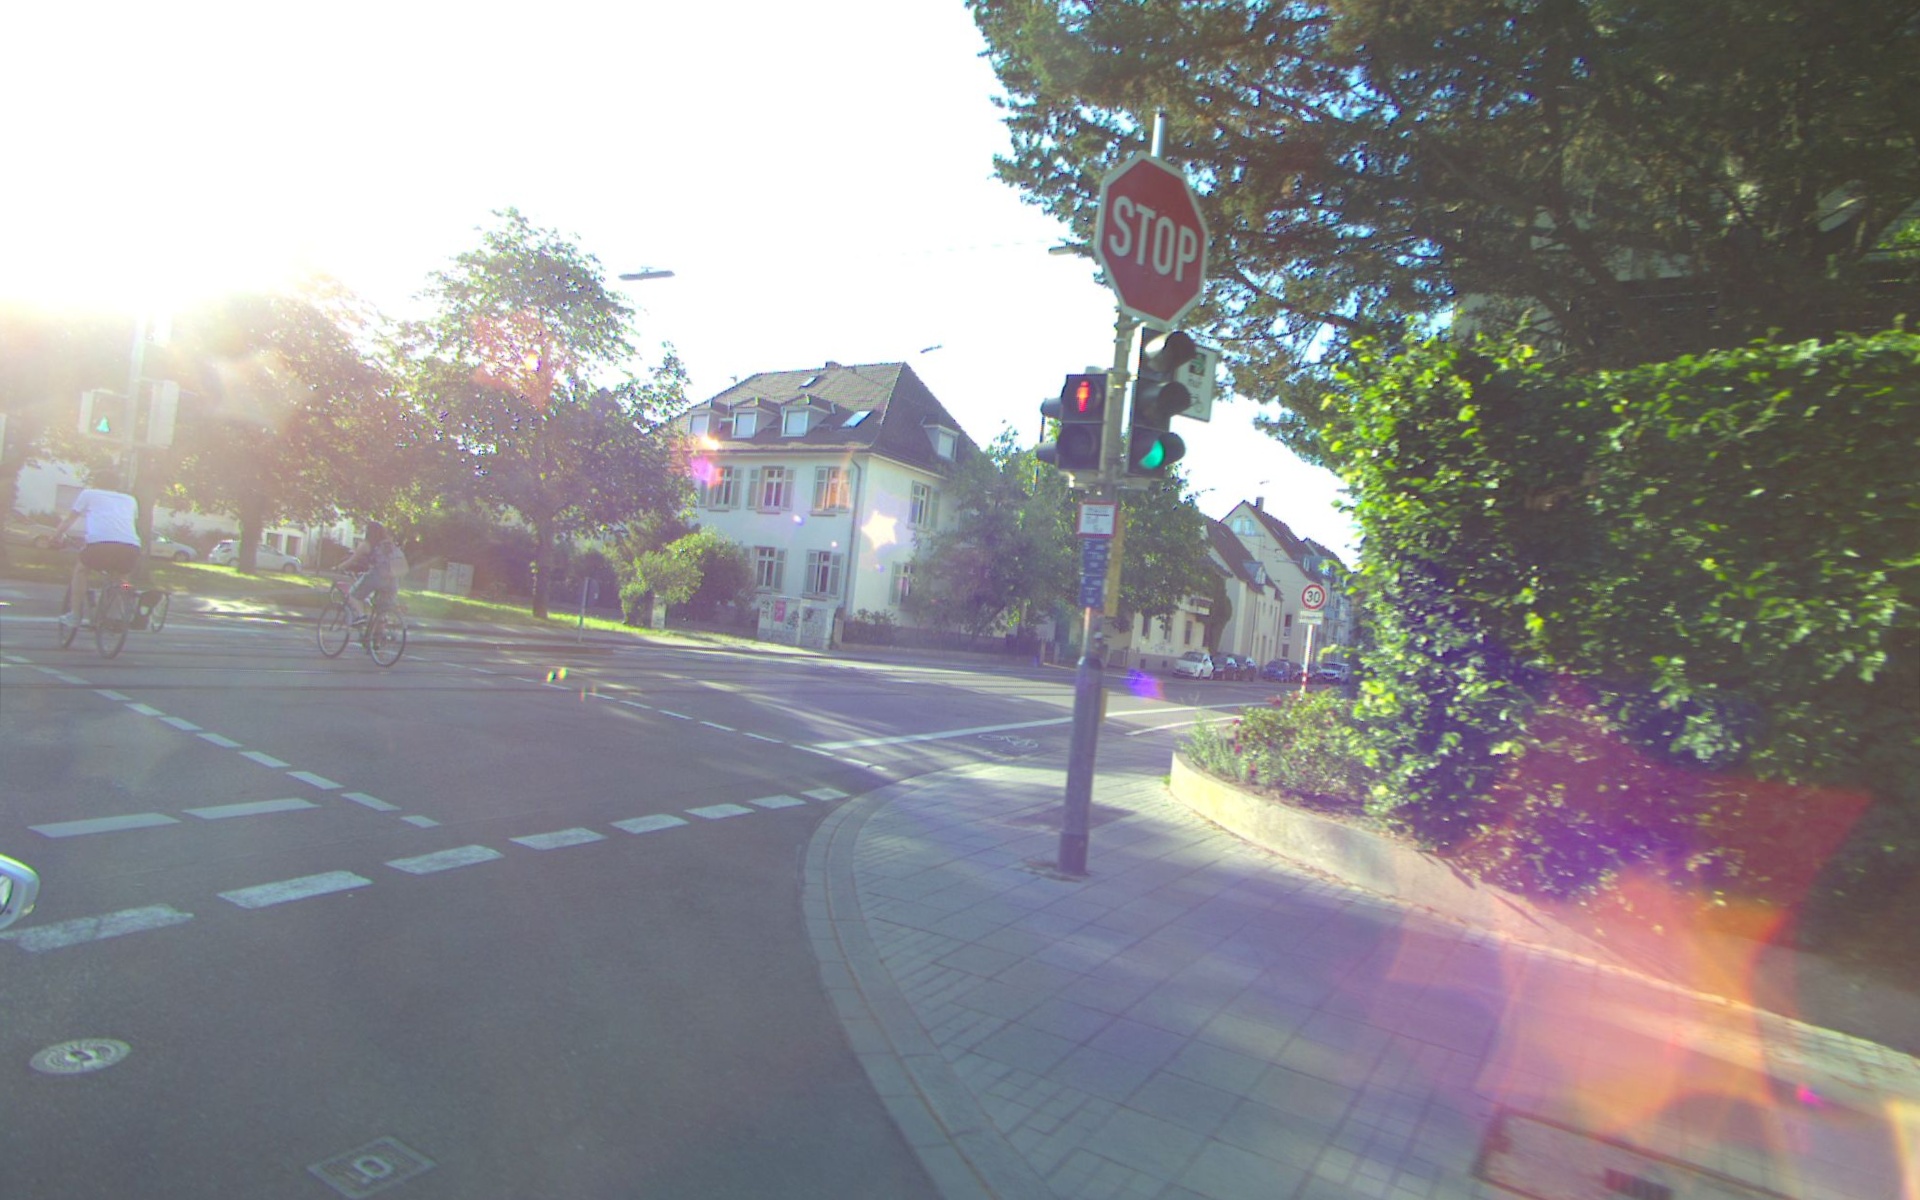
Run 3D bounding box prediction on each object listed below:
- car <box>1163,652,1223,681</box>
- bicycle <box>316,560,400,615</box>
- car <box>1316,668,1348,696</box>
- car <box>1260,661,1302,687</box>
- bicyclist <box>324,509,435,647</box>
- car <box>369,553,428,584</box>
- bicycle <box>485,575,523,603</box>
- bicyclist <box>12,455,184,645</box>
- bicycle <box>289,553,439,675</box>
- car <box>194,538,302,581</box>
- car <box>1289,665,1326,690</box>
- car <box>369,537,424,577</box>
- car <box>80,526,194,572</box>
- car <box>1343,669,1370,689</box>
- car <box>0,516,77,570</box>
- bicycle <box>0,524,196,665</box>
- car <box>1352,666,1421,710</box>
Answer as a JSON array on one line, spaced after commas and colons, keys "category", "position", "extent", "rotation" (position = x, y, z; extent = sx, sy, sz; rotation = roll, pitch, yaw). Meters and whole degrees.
[{"category": "car", "position": [13.391, 3.833, 57.693], "extent": [1.968, 1.325, 3.991], "rotation": [6, -2, 33]}, {"category": "bicycle", "position": [-13.906, -0.270, 23.252], "extent": [0.461, 1.102, 1.519], "rotation": [5, -2, 42]}, {"category": "car", "position": [33.612, 7.424, 90.805], "extent": [1.967, 2.035, 3.999], "rotation": [5, -4, 30]}, {"category": "car", "position": [23.780, 5.505, 74.395], "extent": [1.895, 1.614, 3.893], "rotation": [5, -2, 33]}, {"category": "bicyclist", "position": [-7.238, -0.272, 12.550], "extent": [0.879, 1.579, 0.713], "rotation": [5, -3, 33]}, {"category": "car", "position": [-34.093, -1.870, 61.186], "extent": [1.968, 1.570, 3.990], "rotation": [7, -1, -14]}, {"category": "bicycle", "position": [-21.110, -0.514, 46.555], "extent": [1.923, 1.250, 0.450], "rotation": [1, -6, 31]}, {"category": "bicyclist", "position": [-8.741, -0.490, 10.228], "extent": [0.877, 1.751, 0.818], "rotation": [6, -3, 20]}, {"category": "bicycle", "position": [-7.400, 0.155, 12.464], "extent": [1.929, 1.197, 0.492], "rotation": [9, -1, 27]}, {"category": "car", "position": [-34.894, -1.973, 49.401], "extent": [1.498, 1.540, 3.931], "rotation": [4, -4, 30]}, {"category": "car", "position": [28.440, 6.338, 82.246], "extent": [1.967, 1.632, 3.999], "rotation": [5, -4, 30]}, {"category": "car", "position": [-42.891, -3.231, 76.681], "extent": [2.078, 2.362, 4.516], "rotation": [7, -4, -11]}, {"category": "car", "position": [-37.065, -2.273, 45.379], "extent": [1.578, 1.533, 3.561], "rotation": [5, -2, 29]}, {"category": "car", "position": [39.560, 7.909, 100.258], "extent": [1.810, 1.551, 3.874], "rotation": [5, -4, 31]}, {"category": "car", "position": [-39.973, -2.528, 41.967], "extent": [1.999, 1.896, 4.247], "rotation": [5, -3, 35]}, {"category": "bicycle", "position": [-8.799, -0.056, 10.237], "extent": [1.870, 1.197, 0.575], "rotation": [6, -3, 20]}, {"category": "car", "position": [18.398, 3.809, 43.335], "extent": [1.968, 1.614, 3.992], "rotation": [5, -2, 33]}]
